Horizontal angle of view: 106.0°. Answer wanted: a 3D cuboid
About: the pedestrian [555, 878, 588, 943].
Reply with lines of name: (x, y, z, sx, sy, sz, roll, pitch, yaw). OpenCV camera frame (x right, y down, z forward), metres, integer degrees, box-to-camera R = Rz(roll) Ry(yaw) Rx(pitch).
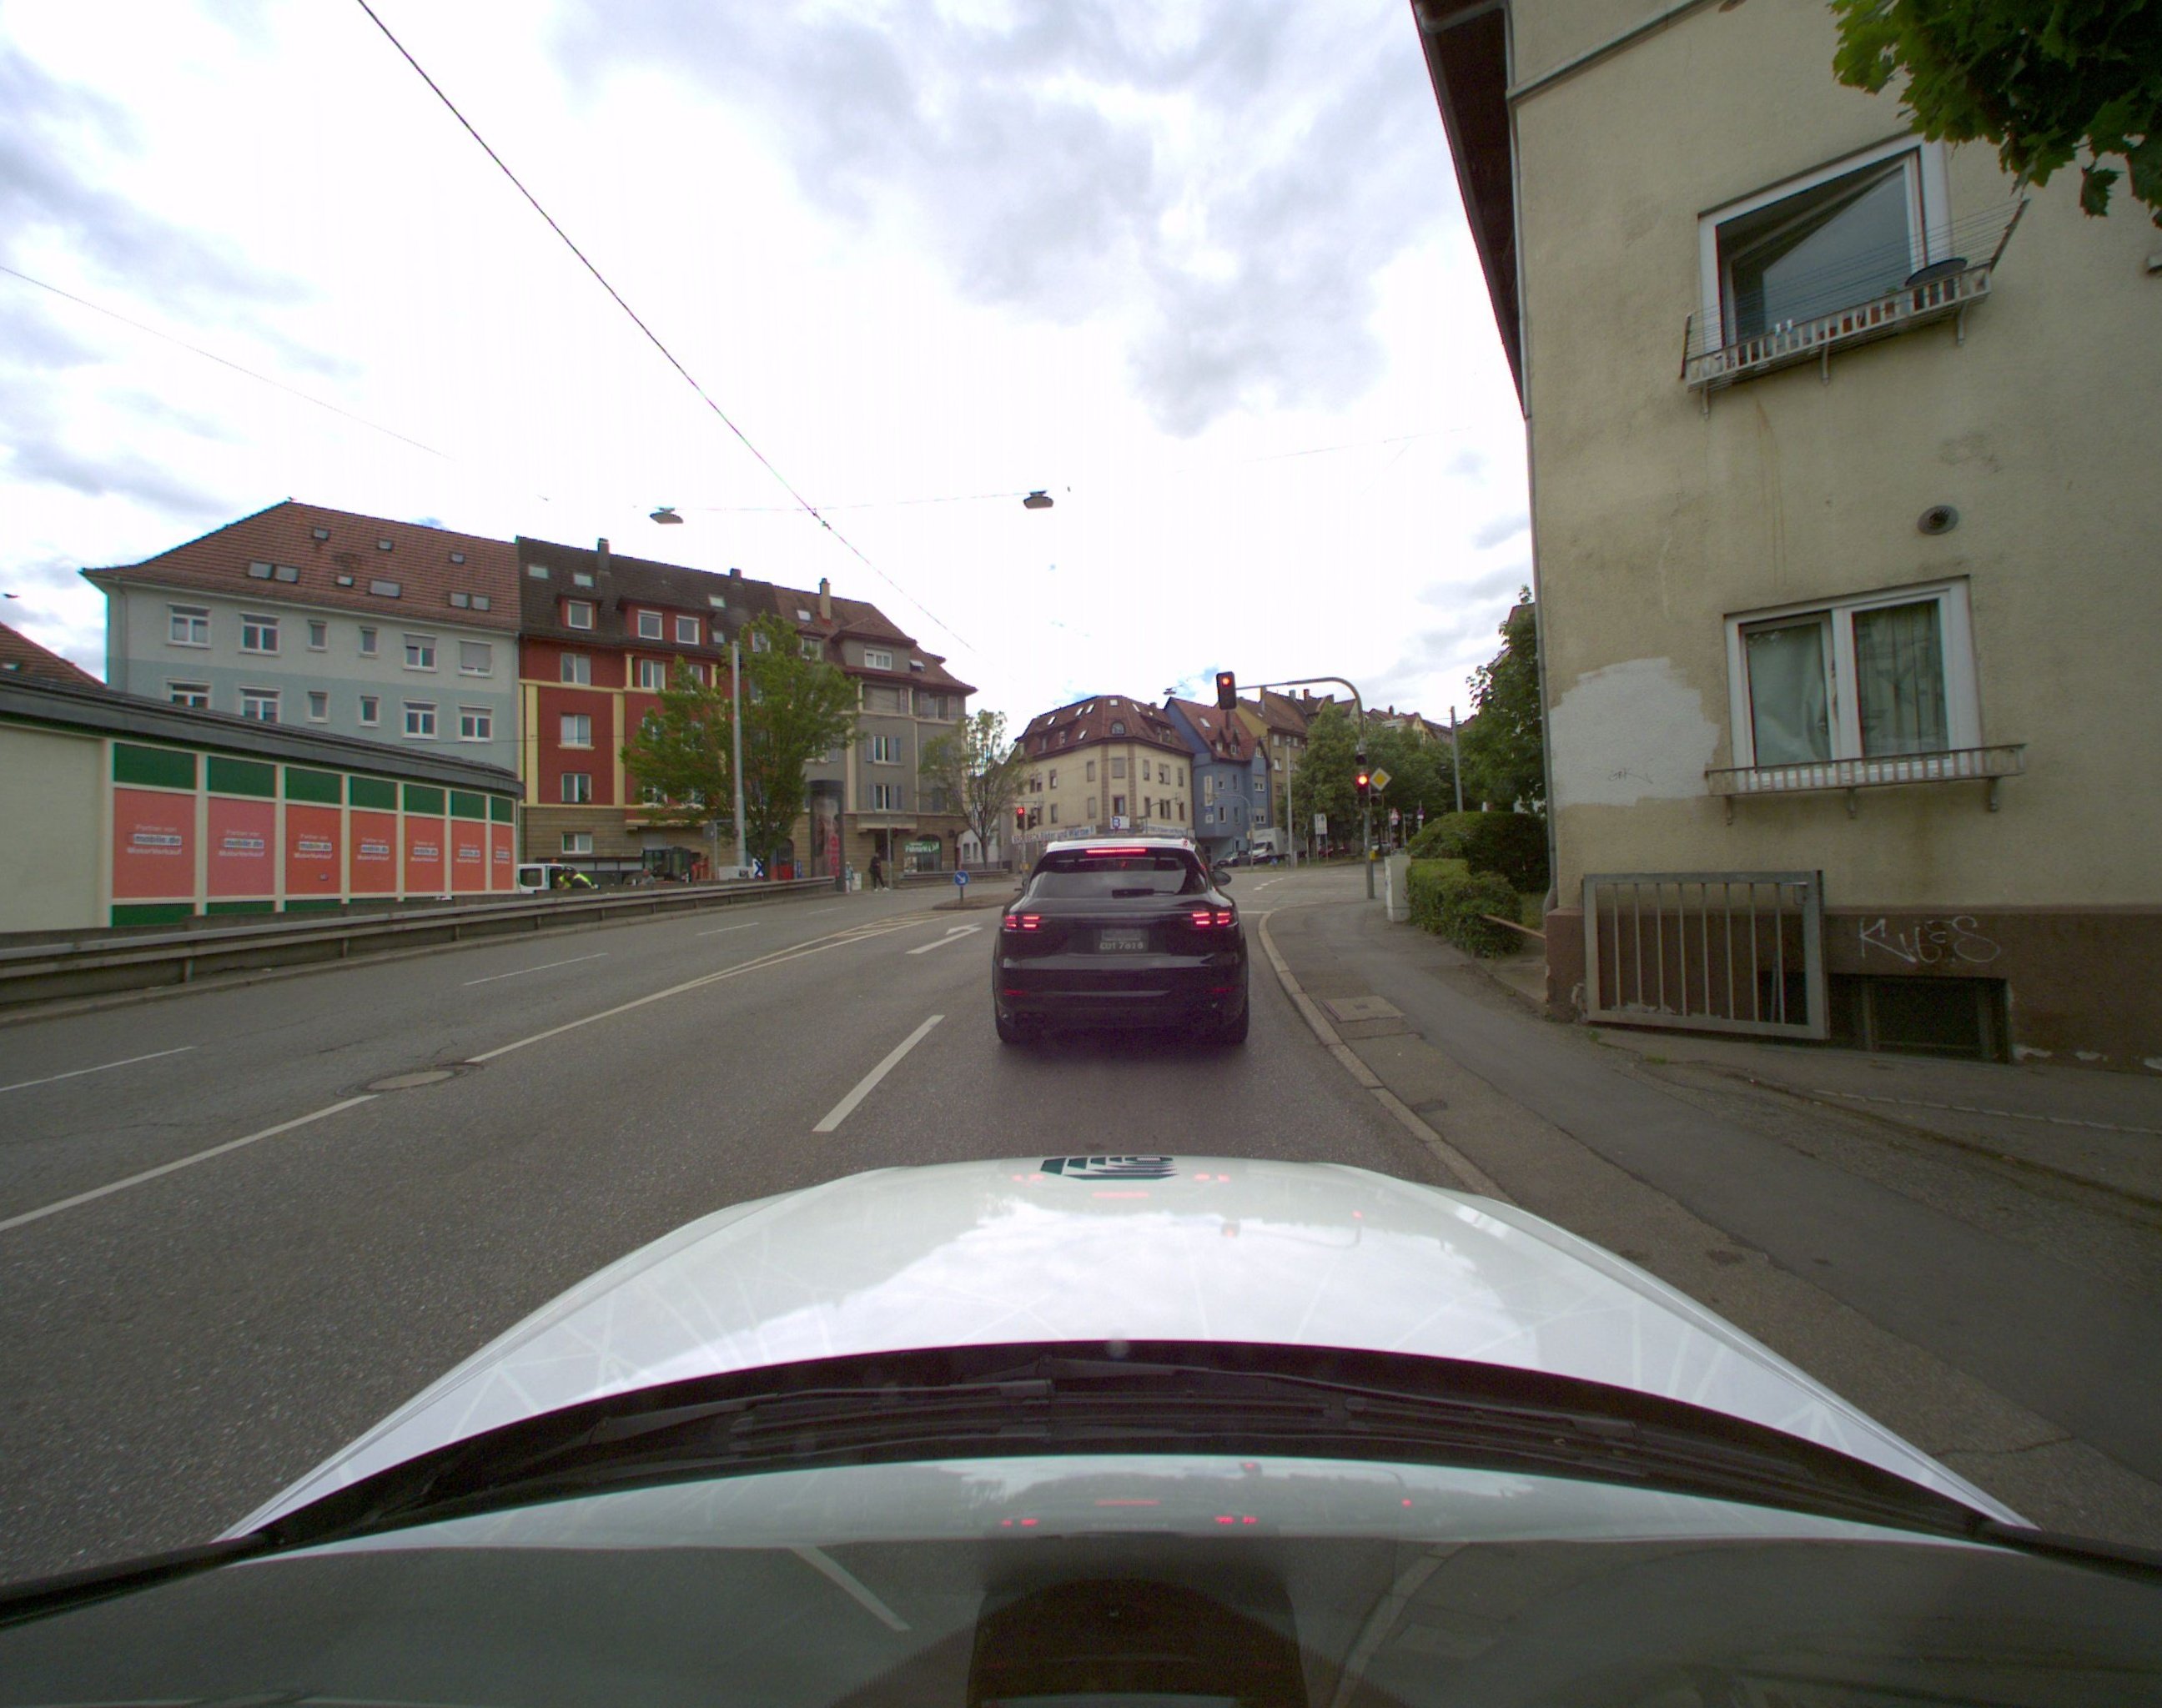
pedestrian: (-13.710, 1.514, 21.931, 0.562, 1.700, 0.541, 1, -1, -10)

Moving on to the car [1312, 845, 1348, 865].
car: (26.297, 0.135, 85.886, 1.975, 2.014, 4.023, 0, -1, 45)

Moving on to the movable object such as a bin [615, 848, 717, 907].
movable object such as a bin: (-13.394, 0.712, 26.553, 1.903, 1.771, 3.984, 1, 0, -11)

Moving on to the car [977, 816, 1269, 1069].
car: (0.267, 0.583, 7.582, 1.973, 1.684, 3.998, -1, 1, -1)

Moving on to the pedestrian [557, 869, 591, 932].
pedestrian: (-14.412, 1.312, 23.159, 0.565, 1.761, 0.622, 0, -1, 37)

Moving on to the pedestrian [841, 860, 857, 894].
pedestrian: (-10.741, 1.042, 37.683, 0.587, 1.567, 0.486, 1, -1, 1)

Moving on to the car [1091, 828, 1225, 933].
car: (1.578, 0.442, 15.237, 1.980, 1.684, 4.014, -1, 0, 12)

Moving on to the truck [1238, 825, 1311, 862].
truck: (18.707, -0.966, 78.351, 2.846, 3.340, 8.846, 0, 0, 43)

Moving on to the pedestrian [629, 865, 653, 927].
pedestrian: (-12.595, 1.185, 23.295, 0.545, 1.730, 0.587, 1, -1, -33)

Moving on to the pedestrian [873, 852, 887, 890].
pedestrian: (-9.322, 0.796, 37.764, 0.511, 1.730, 0.451, 1, -1, 4)

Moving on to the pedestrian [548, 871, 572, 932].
pedestrian: (-15.230, 1.374, 23.799, 0.479, 1.730, 0.536, 1, -1, -44)

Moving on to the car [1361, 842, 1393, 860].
car: (34.017, -0.314, 93.581, 1.975, 2.014, 4.023, 0, -1, 45)

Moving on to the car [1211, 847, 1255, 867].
car: (13.423, 0.215, 71.757, 1.975, 1.684, 4.024, -2, -1, 42)
